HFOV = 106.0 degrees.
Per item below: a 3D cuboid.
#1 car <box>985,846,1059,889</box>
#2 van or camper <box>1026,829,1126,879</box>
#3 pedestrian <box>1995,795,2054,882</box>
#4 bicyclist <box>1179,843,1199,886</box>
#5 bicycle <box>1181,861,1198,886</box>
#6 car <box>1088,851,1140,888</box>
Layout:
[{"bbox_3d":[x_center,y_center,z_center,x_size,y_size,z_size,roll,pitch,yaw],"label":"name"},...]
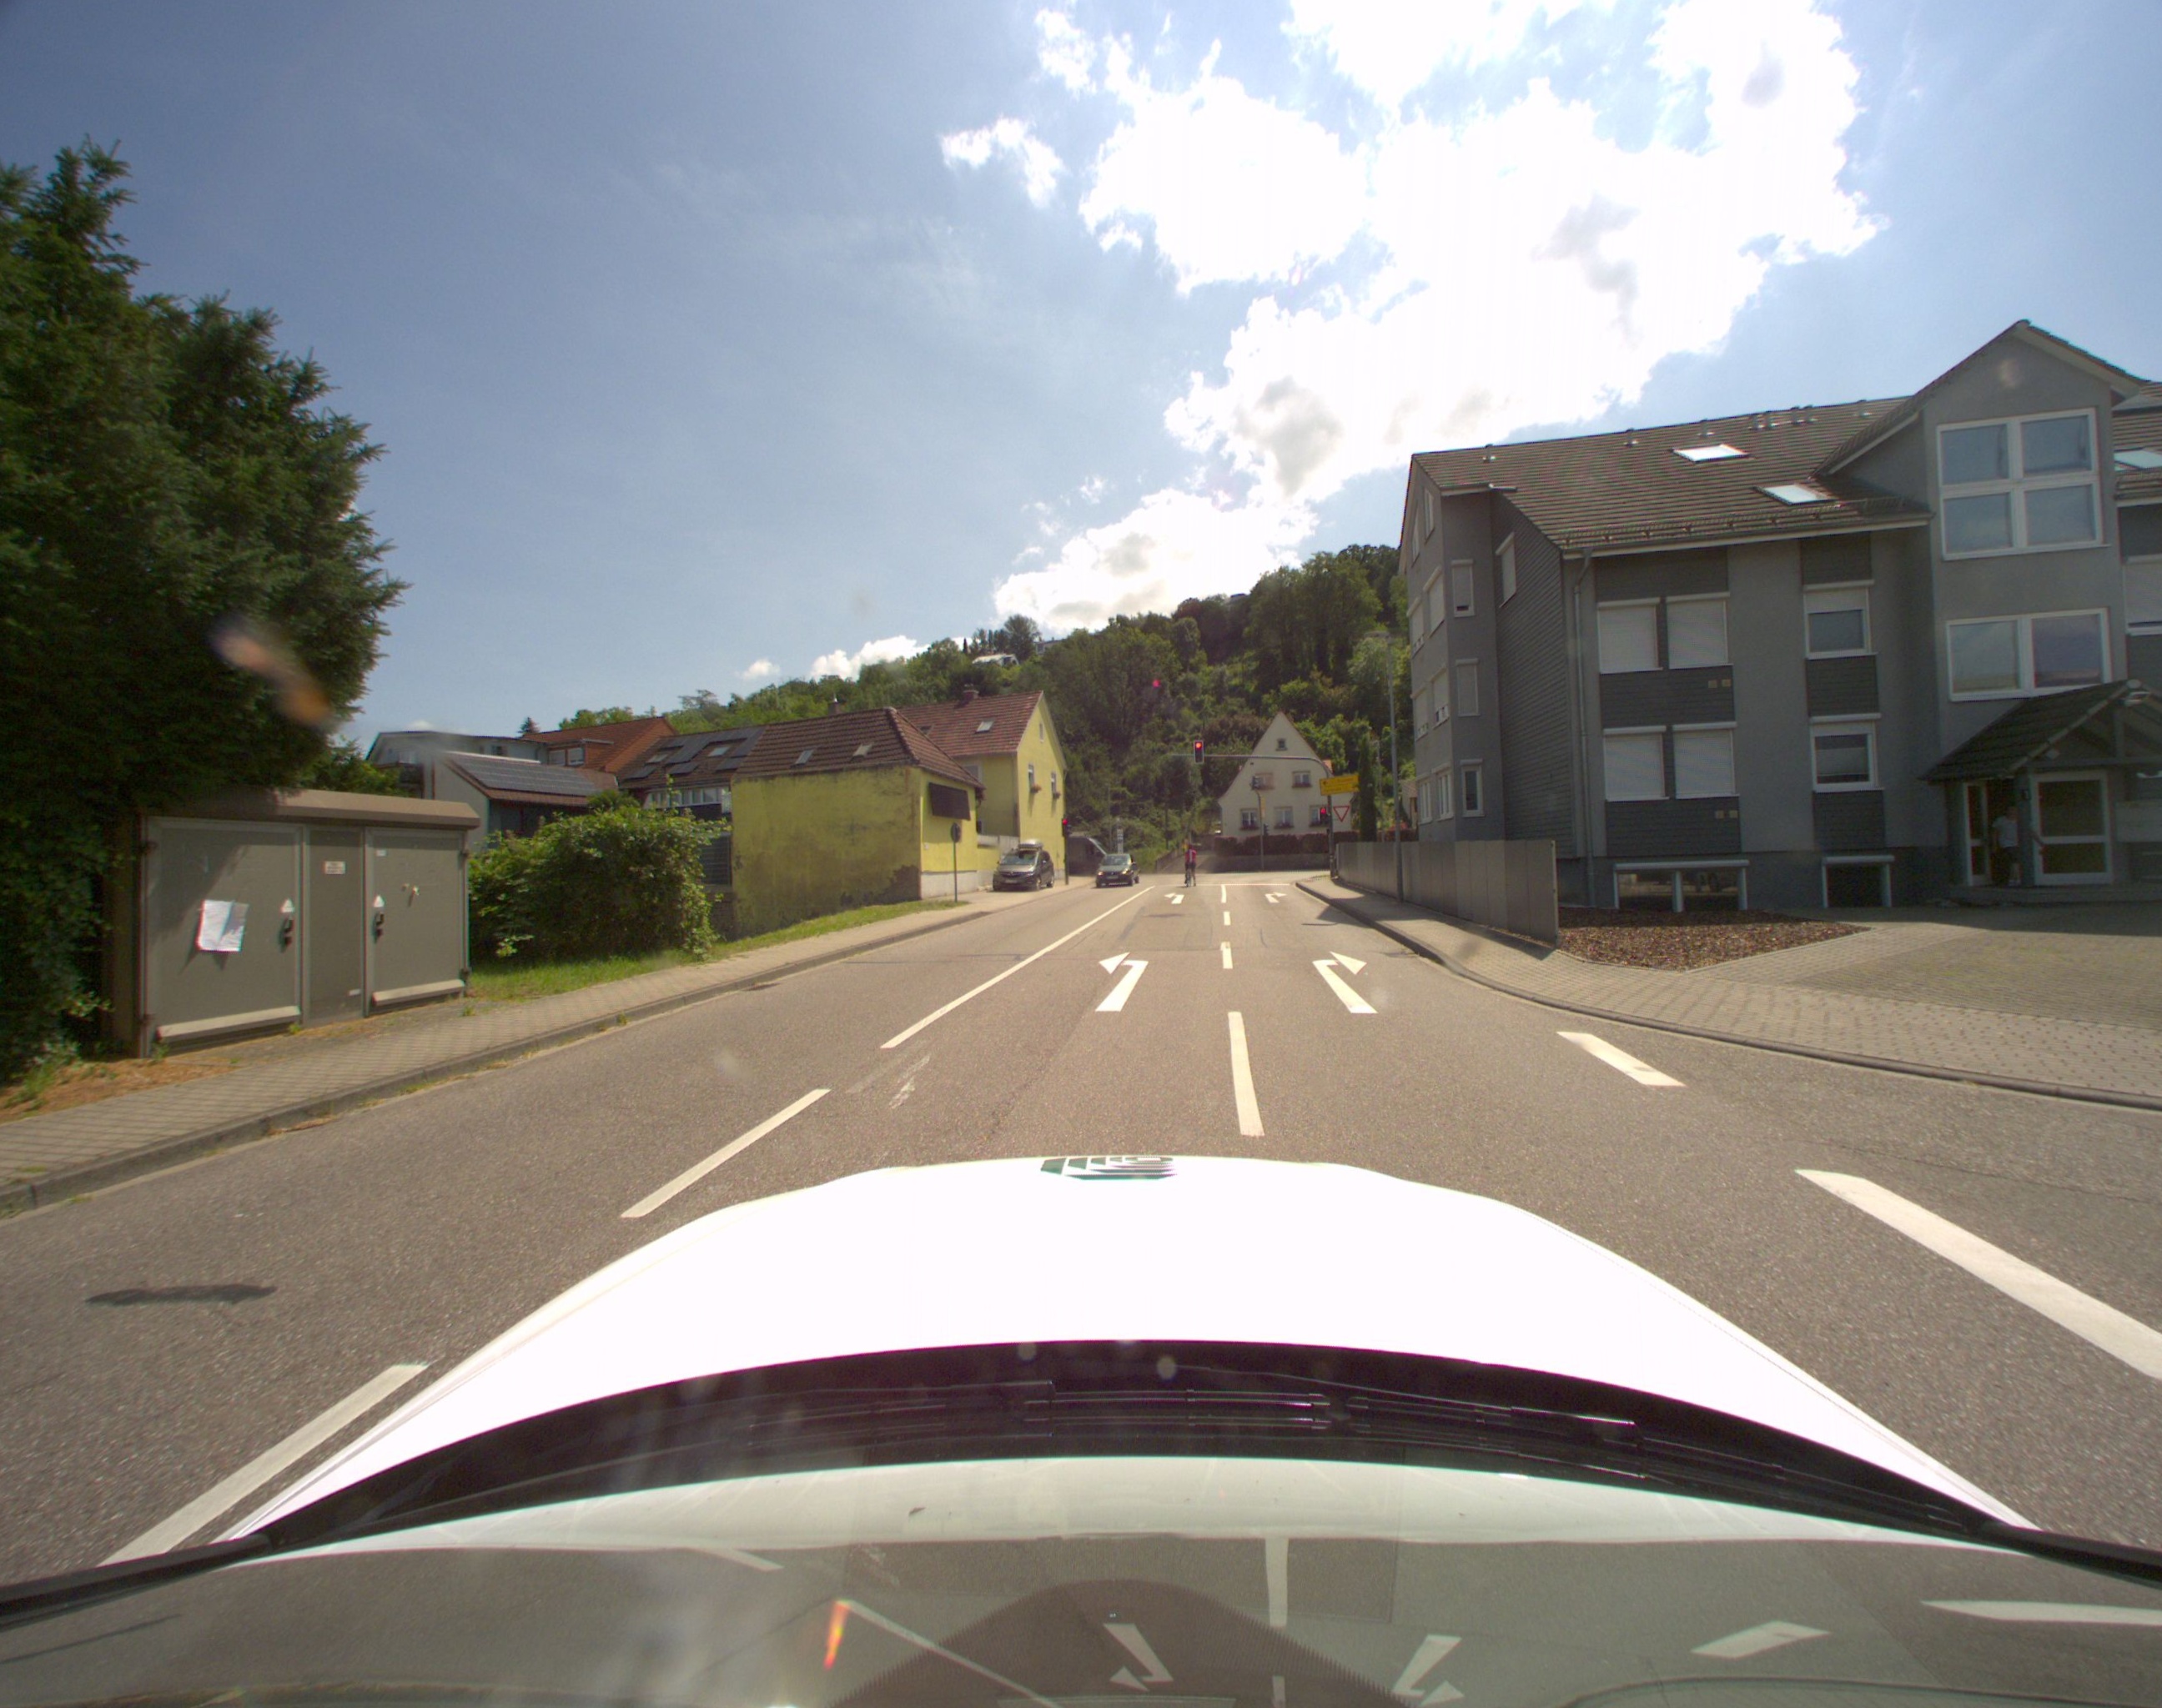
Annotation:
[{"bbox_3d":[-2.331,0.509,33.565,1.981,1.635,4.642,0,0,9],"label":"car"},{"bbox_3d":[-0.314,0.001,52.726,5.945,3.004,2.228,-2,-1,17],"label":"van or camper"},{"bbox_3d":[17.099,-0.270,14.766,0.528,1.529,0.486,-2,0,29],"label":"pedestrian"},{"bbox_3d":[4.243,0.421,32.053,0.756,1.664,0.870,-1,0,8],"label":"bicyclist"},{"bbox_3d":[4.253,0.759,31.958,0.626,0.905,1.661,-1,0,8],"label":"bicycle"},{"bbox_3d":[1.493,0.636,35.743,1.770,1.433,3.882,-3,0,9],"label":"car"}]
